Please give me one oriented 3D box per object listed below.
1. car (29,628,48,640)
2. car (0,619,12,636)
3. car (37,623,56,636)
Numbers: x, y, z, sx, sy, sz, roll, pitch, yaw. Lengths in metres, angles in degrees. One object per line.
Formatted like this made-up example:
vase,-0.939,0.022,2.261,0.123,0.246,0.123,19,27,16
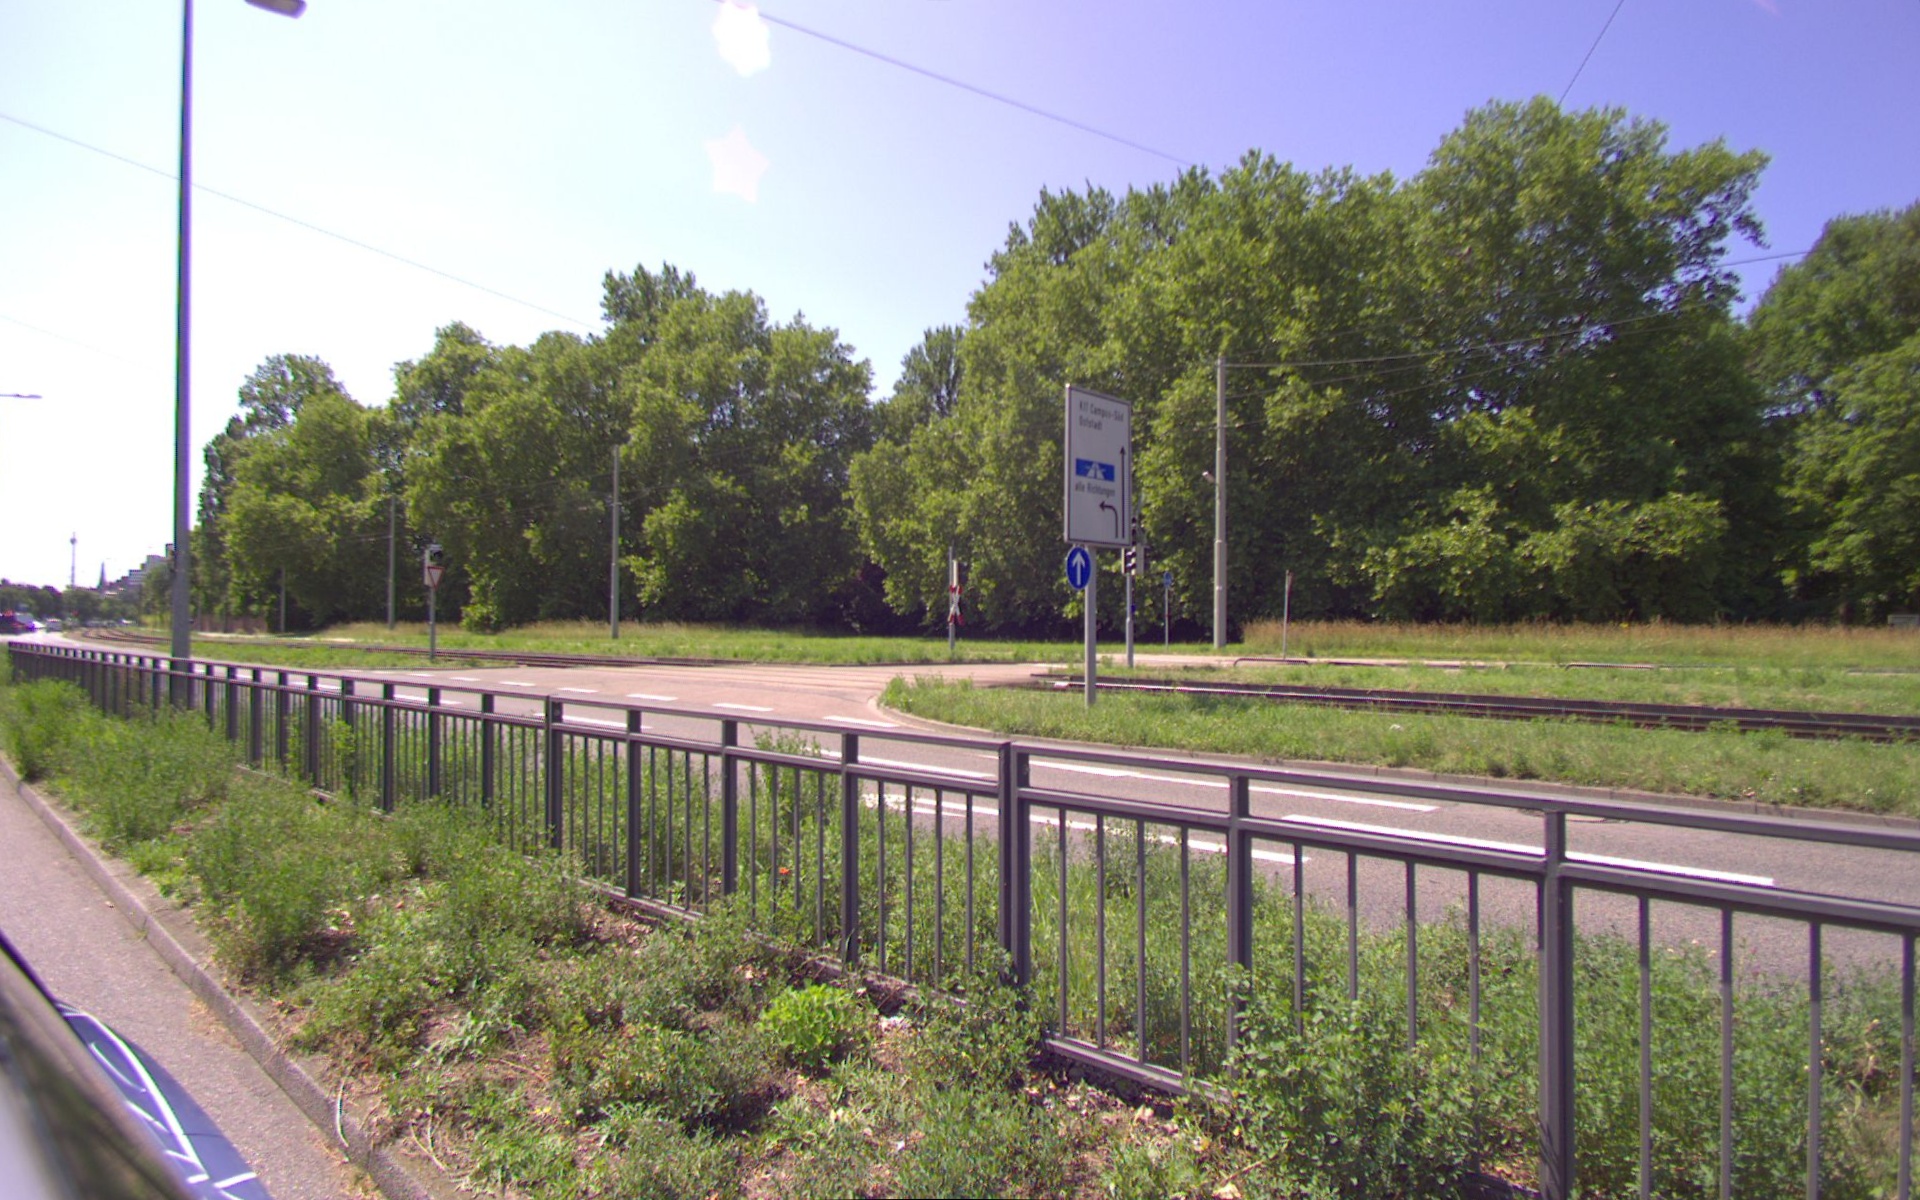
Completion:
car,-141.804,5.236,155.752,1.970,1.871,4.003,1,-2,-44
car,-107.556,3.109,113.371,1.970,1.871,4.004,1,-2,-43
car,-136.785,4.445,151.571,1.970,1.871,4.003,1,-2,-44
